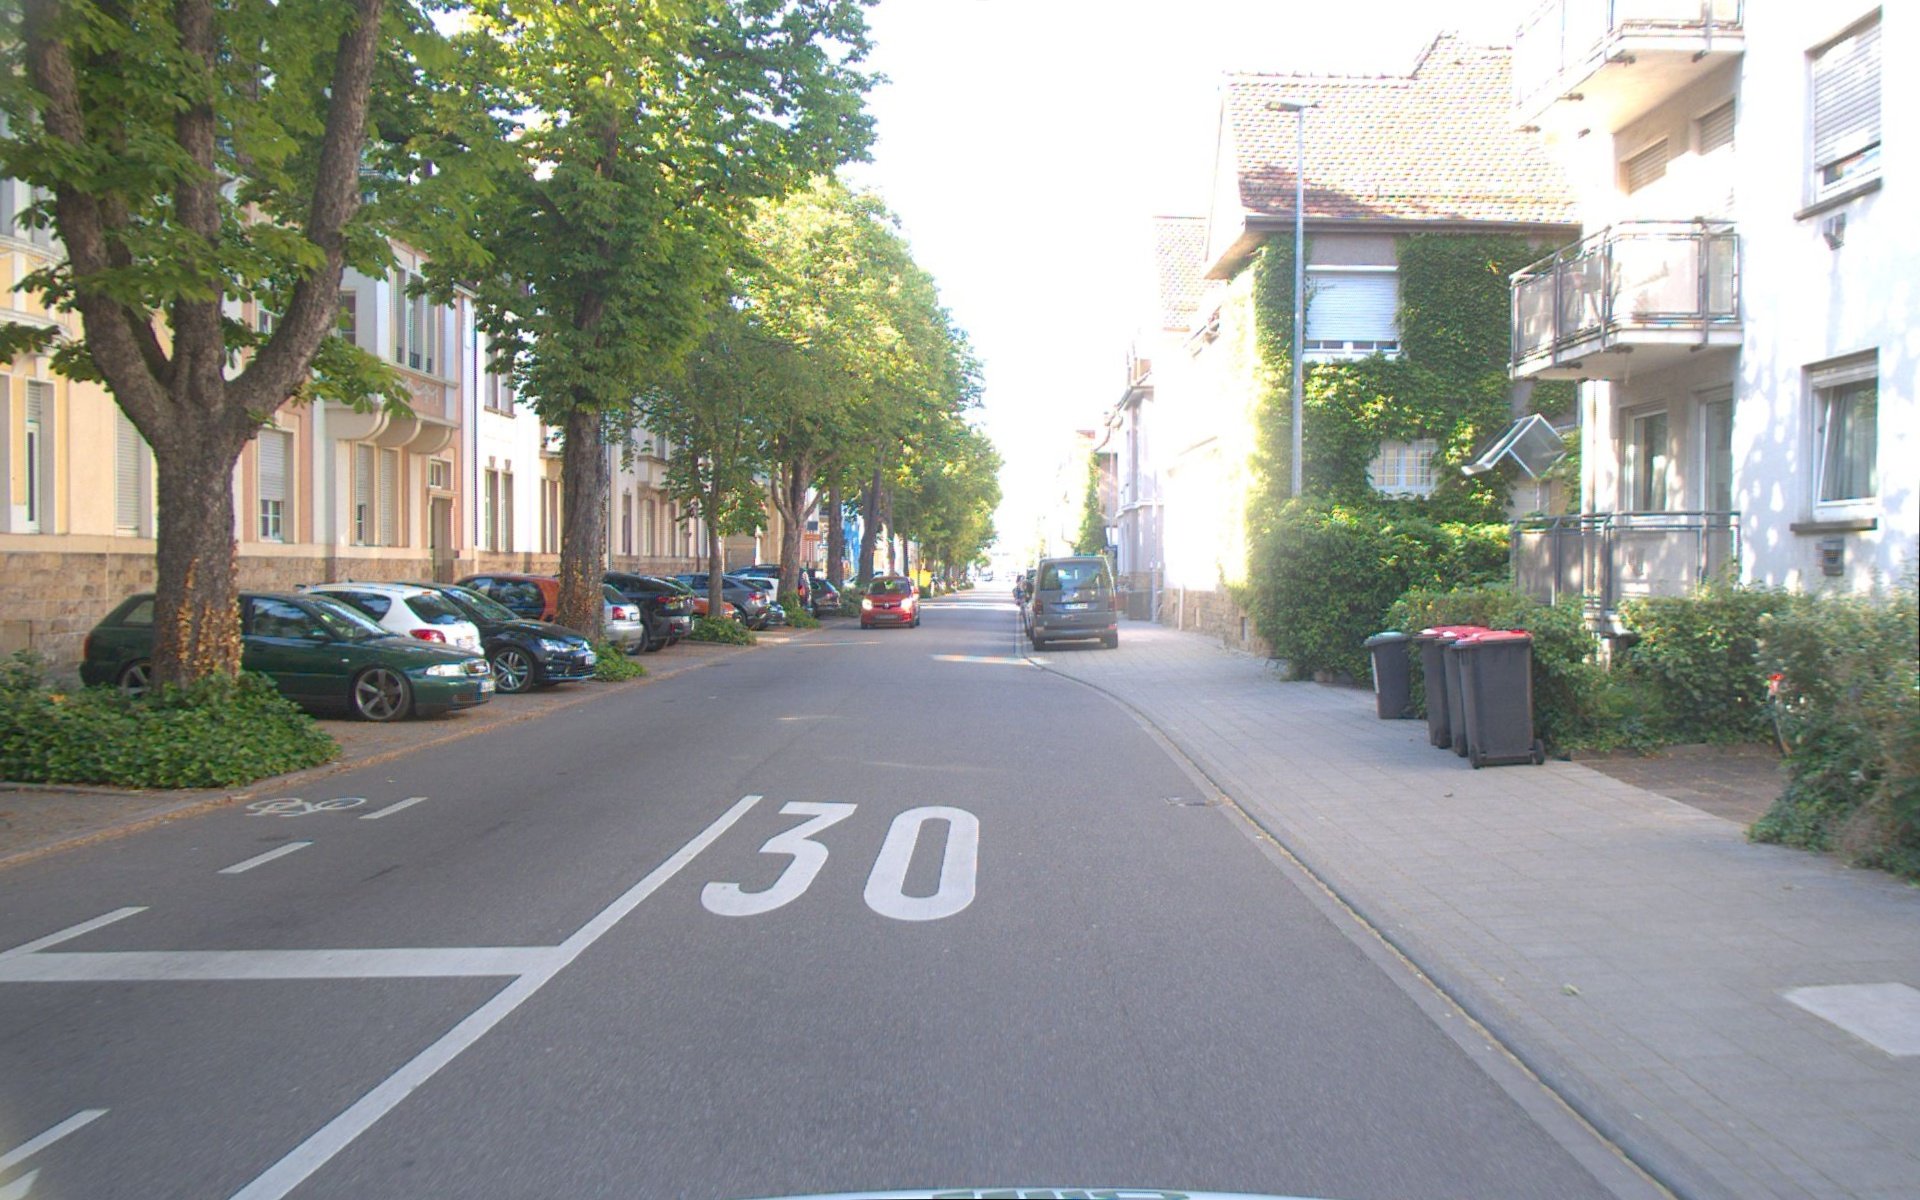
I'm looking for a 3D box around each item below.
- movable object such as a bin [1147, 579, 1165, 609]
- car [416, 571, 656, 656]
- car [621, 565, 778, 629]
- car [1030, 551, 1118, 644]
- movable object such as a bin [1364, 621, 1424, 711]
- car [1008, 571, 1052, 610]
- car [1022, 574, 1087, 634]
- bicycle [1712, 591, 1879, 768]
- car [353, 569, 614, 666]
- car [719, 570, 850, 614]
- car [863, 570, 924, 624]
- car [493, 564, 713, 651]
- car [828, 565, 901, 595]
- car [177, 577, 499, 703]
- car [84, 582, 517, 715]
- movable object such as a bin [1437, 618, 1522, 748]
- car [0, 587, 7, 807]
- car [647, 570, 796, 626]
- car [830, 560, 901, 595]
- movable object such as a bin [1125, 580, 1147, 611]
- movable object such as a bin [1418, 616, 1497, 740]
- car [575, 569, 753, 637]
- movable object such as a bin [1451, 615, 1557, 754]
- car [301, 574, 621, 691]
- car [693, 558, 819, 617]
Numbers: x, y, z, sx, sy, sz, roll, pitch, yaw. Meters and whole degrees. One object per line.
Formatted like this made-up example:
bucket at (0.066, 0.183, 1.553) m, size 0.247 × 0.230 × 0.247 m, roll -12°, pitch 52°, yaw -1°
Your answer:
movable object such as a bin at (6.879, -0.216, 57.985) m, size 0.557 × 1.058 × 0.618 m, roll -1°, pitch 1°, yaw -1°
car at (-7.787, 0.229, 30.592) m, size 3.904 × 1.428 × 1.831 m, roll 1°, pitch 1°, yaw 3°
car at (-6.992, -0.109, 44.689) m, size 3.905 × 1.620 × 1.860 m, roll 1°, pitch 1°, yaw 1°
car at (2.512, -0.105, 37.339) m, size 1.826 × 1.949 × 4.784 m, roll 0°, pitch 1°, yaw 2°
movable object such as a bin at (4.812, 0.725, 18.351) m, size 0.493 × 0.931 × 0.573 m, roll -4°, pitch 1°, yaw 4°
car at (3.014, -0.425, 71.994) m, size 1.665 × 1.566 × 4.155 m, roll -2°, pitch 1°, yaw 0°
car at (2.768, 0.085, 48.757) m, size 1.752 × 1.628 × 4.002 m, roll -3°, pitch 1°, yaw 3°
bicycle at (6.517, 0.583, 12.867) m, size 1.566 × 1.207 × 0.634 m, roll -4°, pitch 2°, yaw -43°
car at (-8.065, 0.278, 28.221) m, size 3.903 × 1.534 × 1.723 m, roll -1°, pitch 1°, yaw 3°
car at (-6.248, -0.296, 59.170) m, size 4.439 × 1.529 × 1.892 m, roll 1°, pitch 1°, yaw 0°
car at (-1.996, -0.117, 50.536) m, size 1.607 × 1.534 × 3.703 m, roll -1°, pitch 1°, yaw 1°
car at (-7.065, 0.127, 32.988) m, size 3.904 × 1.594 × 1.864 m, roll 1°, pitch 1°, yaw 3°
car at (-5.278, -1.116, 91.556) m, size 3.907 × 1.489 × 1.797 m, roll 2°, pitch 0°, yaw -2°
car at (-7.746, 0.479, 20.793) m, size 3.361 × 1.477 × 1.704 m, roll 1°, pitch 0°, yaw 4°
car at (-7.247, 0.512, 18.446) m, size 4.124 × 1.372 × 1.703 m, roll 1°, pitch 0°, yaw 1°
movable object such as a bin at (4.542, 0.713, 14.478) m, size 0.473 × 1.062 × 0.657 m, roll -4°, pitch 1°, yaw -1°
car at (-8.111, 0.650, 9.913) m, size 3.806 × 1.439 × 1.614 m, roll 0°, pitch 1°, yaw -5°
car at (-6.760, -0.077, 47.067) m, size 3.819 × 1.471 × 1.861 m, roll 1°, pitch 1°, yaw 6°
car at (-5.353, -1.283, 94.069) m, size 3.907 × 1.791 × 1.797 m, roll 2°, pitch 0°, yaw -2°
movable object such as a bin at (6.165, -0.165, 57.928) m, size 0.634 × 1.058 × 0.828 m, roll -1°, pitch 1°, yaw -1°
movable object such as a bin at (4.547, 0.701, 15.150) m, size 0.473 × 1.062 × 0.618 m, roll -4°, pitch 1°, yaw -1°
car at (-7.045, 0.071, 39.586) m, size 3.904 × 1.541 × 1.748 m, roll 1°, pitch 0°, yaw 1°
movable object such as a bin at (4.478, 0.681, 13.650) m, size 0.585 × 1.062 × 0.707 m, roll -4°, pitch 1°, yaw -1°
car at (-6.918, 0.421, 23.180) m, size 3.903 × 1.508 × 1.786 m, roll 1°, pitch 1°, yaw 3°
car at (-6.674, -0.417, 54.375) m, size 3.898 × 1.888 × 1.829 m, roll 0°, pitch 1°, yaw 0°
